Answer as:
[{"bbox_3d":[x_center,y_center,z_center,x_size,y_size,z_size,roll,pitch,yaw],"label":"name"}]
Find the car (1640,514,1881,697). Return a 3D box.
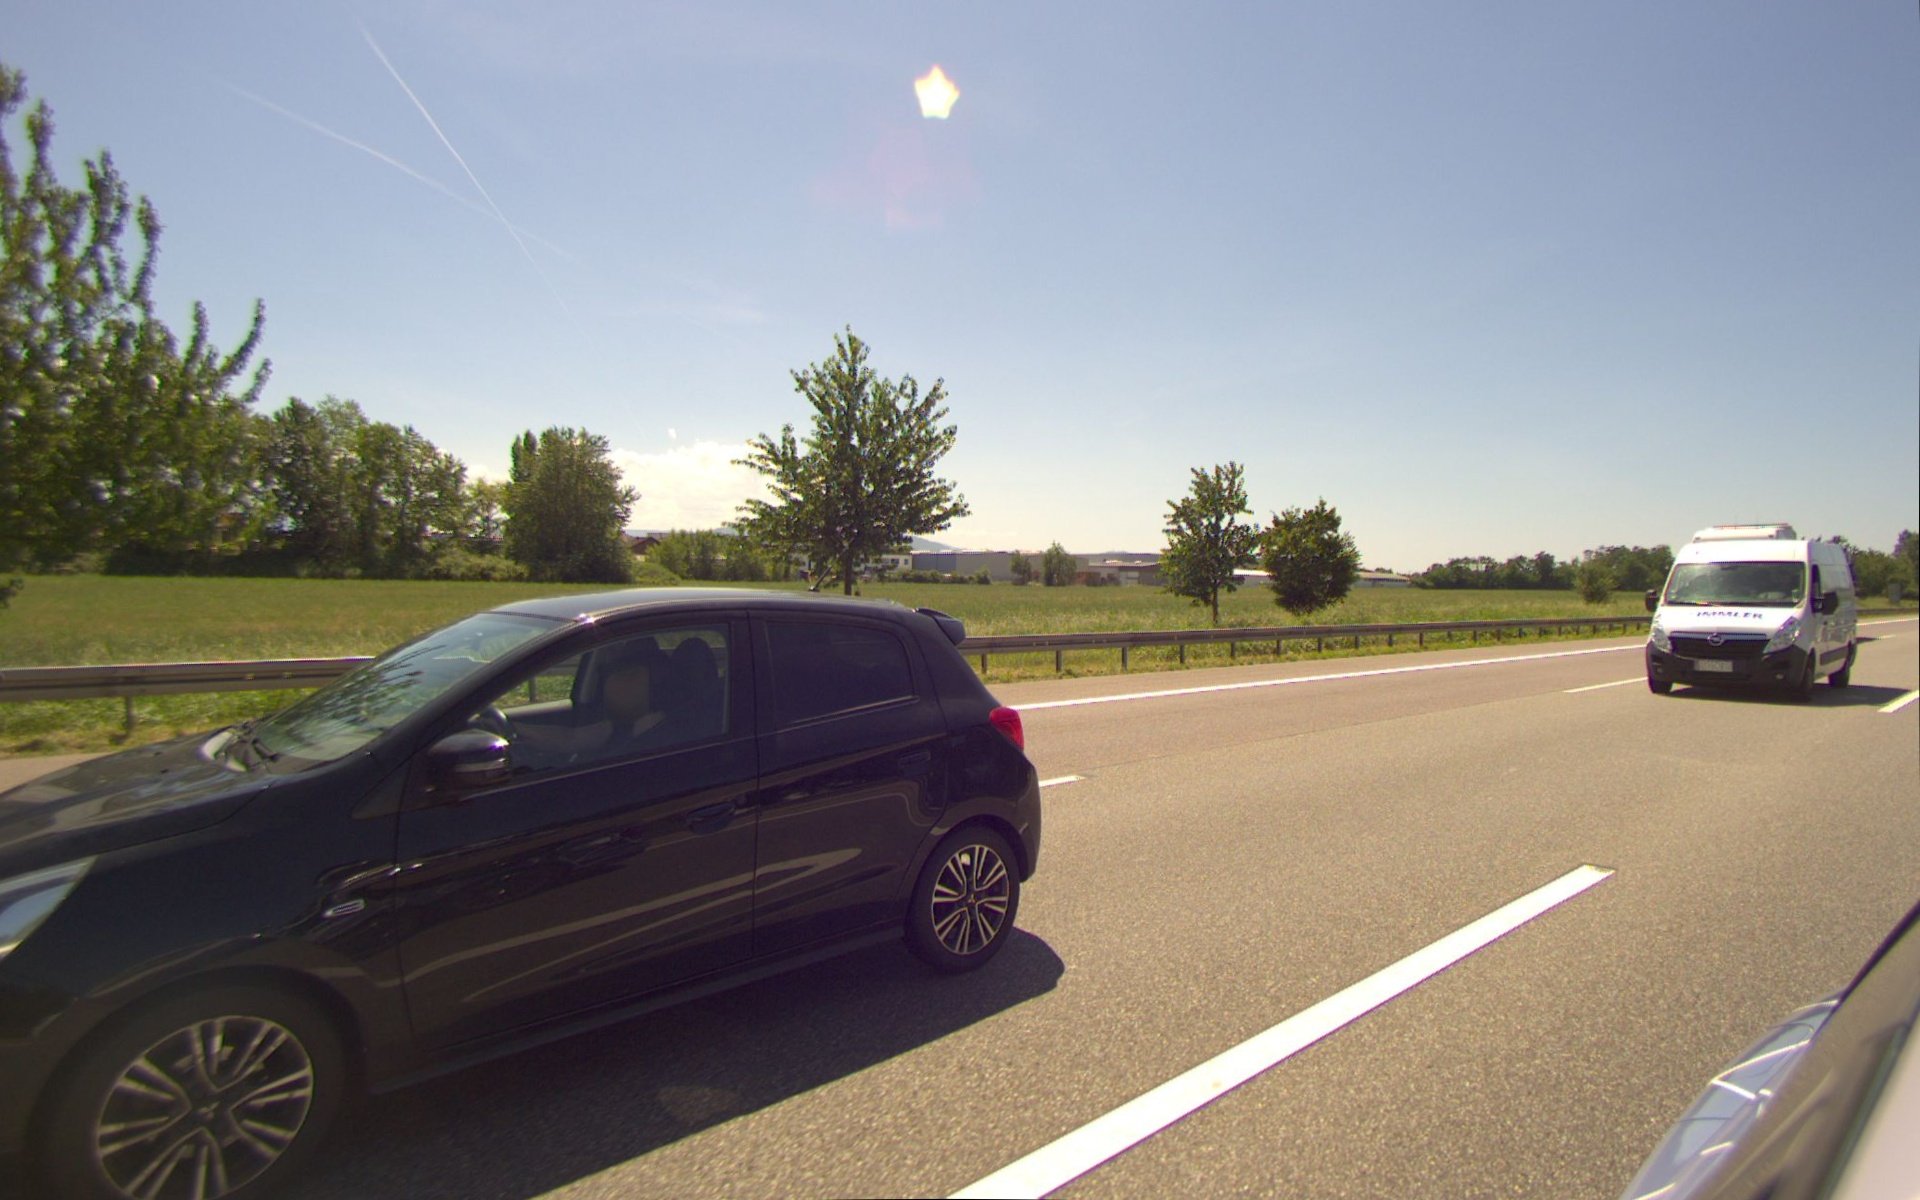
[{"bbox_3d":[13.454,0.052,16.835,5.843,2.540,2.156,-1,0,-42],"label":"car"}]

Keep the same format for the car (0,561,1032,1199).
[{"bbox_3d":[-1.514,0.657,3.594,3.374,1.492,1.689,-1,0,-42],"label":"car"}]

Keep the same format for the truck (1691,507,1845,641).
[{"bbox_3d":[27.245,-0.794,33.985,7.568,4.016,2.697,0,0,-41],"label":"truck"}]

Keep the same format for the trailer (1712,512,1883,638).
[{"bbox_3d":[31.484,-0.809,37.693,13.717,4.016,2.697,0,0,-41],"label":"trailer"}]

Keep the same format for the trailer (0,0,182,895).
[{"bbox_3d":[-10.118,-0.761,1.576,14.007,4.359,2.814,-1,0,-42],"label":"trailer"}]
